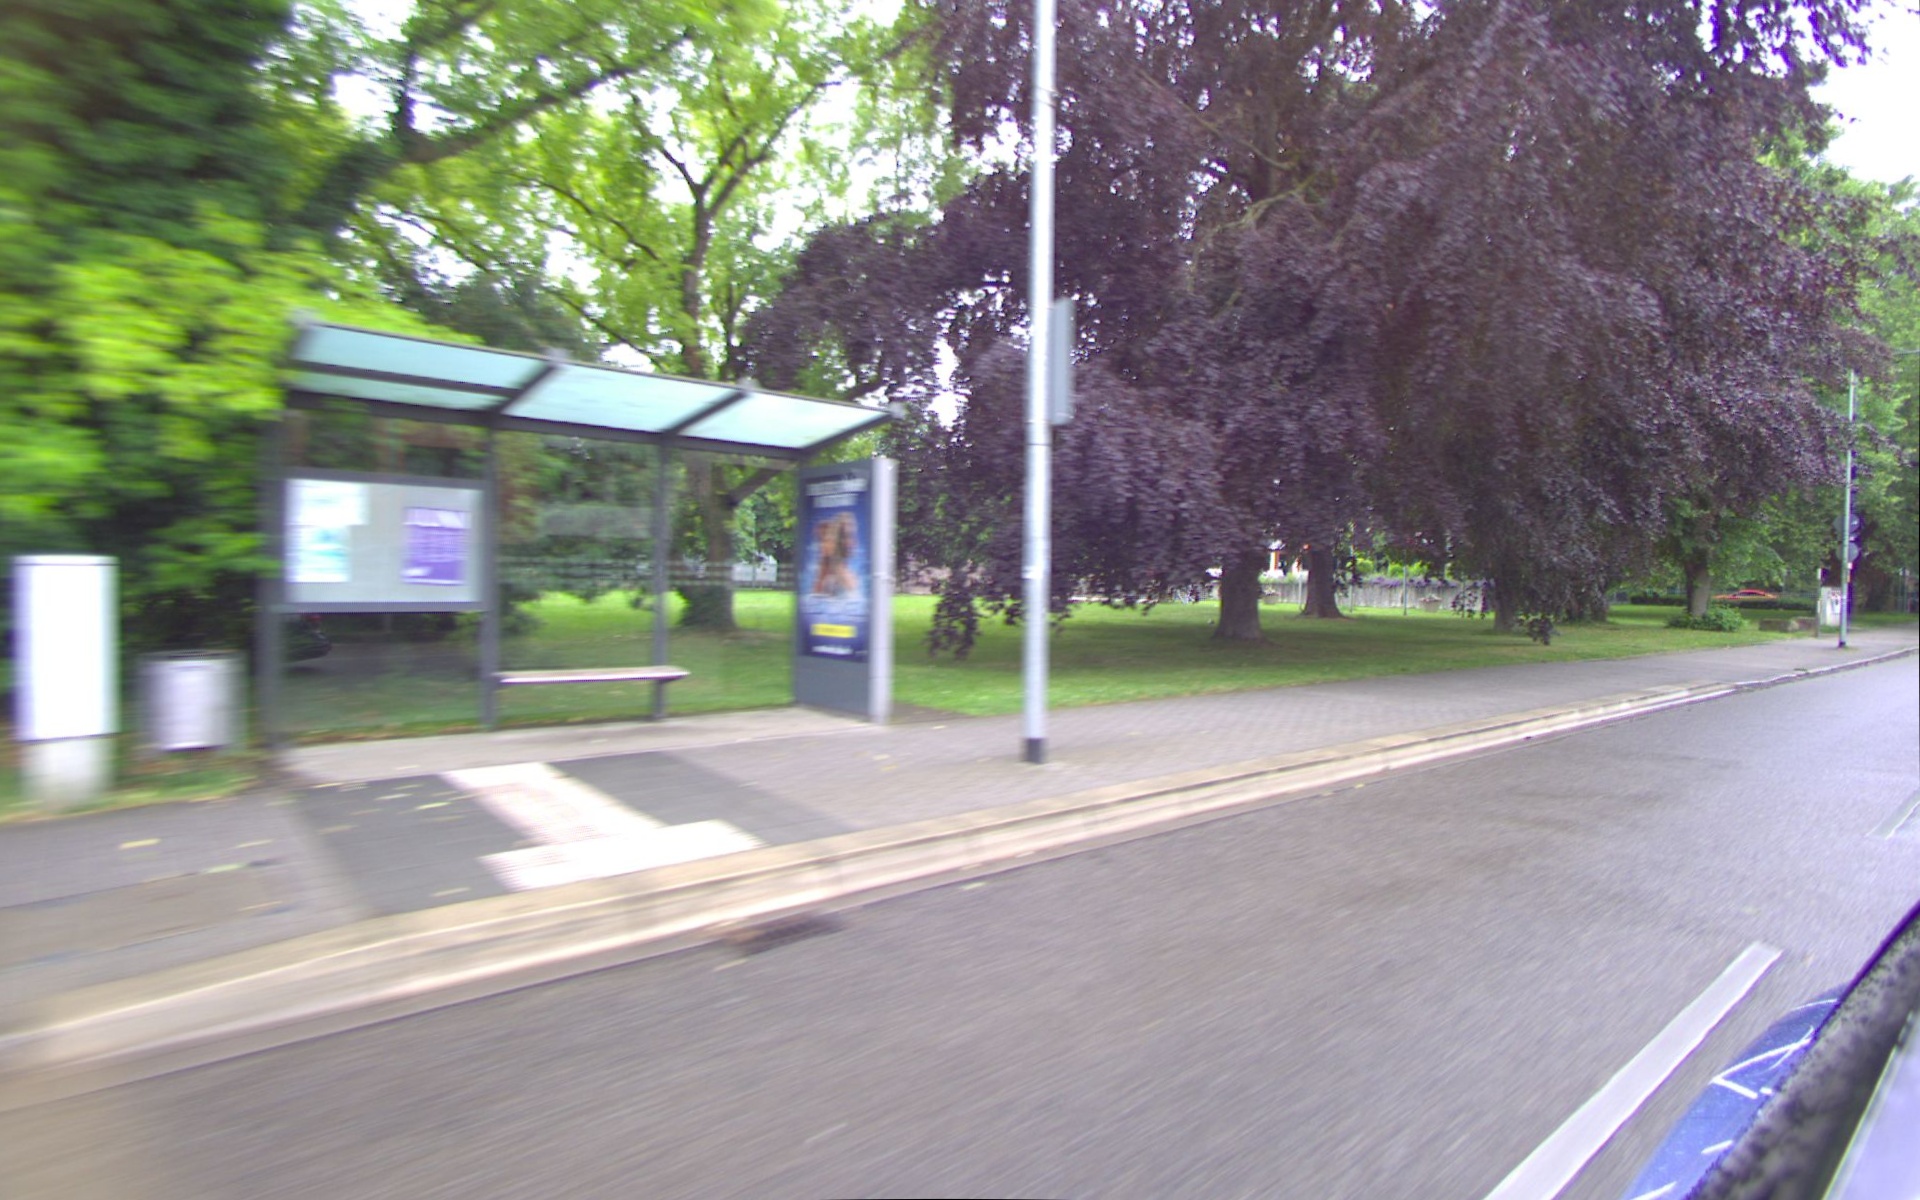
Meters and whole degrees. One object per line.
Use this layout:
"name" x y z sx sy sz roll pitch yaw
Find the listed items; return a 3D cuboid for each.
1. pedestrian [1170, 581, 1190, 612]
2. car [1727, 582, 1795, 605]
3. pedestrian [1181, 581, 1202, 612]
"pedestrian" 12.664 -0.200 58.211 0.838 1.785 0.760 -2 -1 44
"car" 64.139 -0.524 81.097 1.966 1.737 3.992 0 2 -43
"pedestrian" 13.503 -0.208 58.920 0.838 1.785 0.865 -2 -1 44
